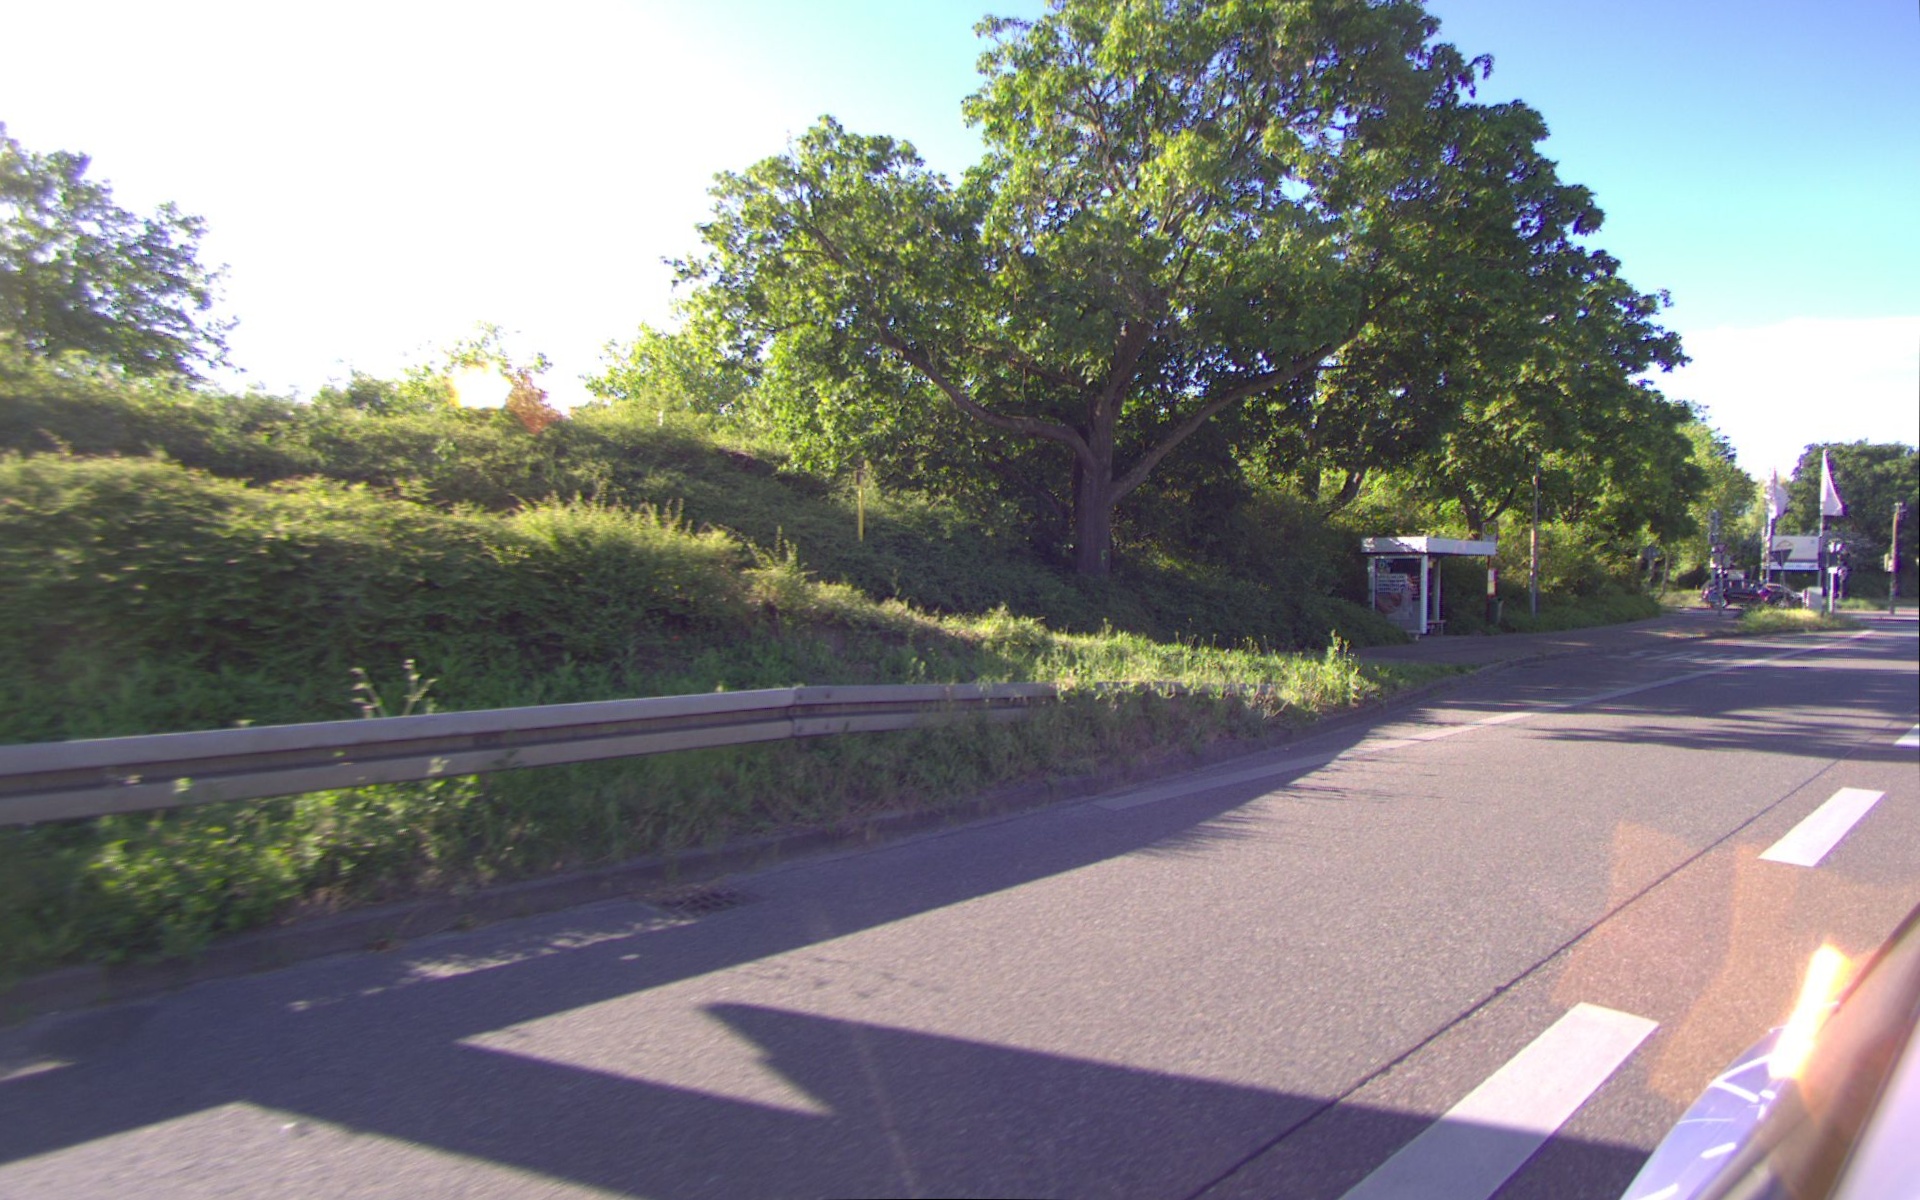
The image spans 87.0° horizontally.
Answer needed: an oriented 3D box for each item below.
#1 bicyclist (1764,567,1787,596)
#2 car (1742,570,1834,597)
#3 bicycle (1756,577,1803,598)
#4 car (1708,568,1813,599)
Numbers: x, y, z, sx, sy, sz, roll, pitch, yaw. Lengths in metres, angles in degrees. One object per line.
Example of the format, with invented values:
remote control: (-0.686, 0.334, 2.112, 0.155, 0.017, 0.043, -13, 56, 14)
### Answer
bicyclist: (45.753, -1.057, 56.787, 0.976, 1.576, 0.751, 3, 2, 38)
car: (50.659, -1.031, 62.000, 4.058, 1.558, 1.754, 2, 2, 31)
bicycle: (45.884, -0.703, 56.686, 2.005, 1.105, 0.756, 3, 3, 39)
car: (47.200, -1.013, 59.785, 4.617, 1.748, 1.887, 2, 2, 32)
